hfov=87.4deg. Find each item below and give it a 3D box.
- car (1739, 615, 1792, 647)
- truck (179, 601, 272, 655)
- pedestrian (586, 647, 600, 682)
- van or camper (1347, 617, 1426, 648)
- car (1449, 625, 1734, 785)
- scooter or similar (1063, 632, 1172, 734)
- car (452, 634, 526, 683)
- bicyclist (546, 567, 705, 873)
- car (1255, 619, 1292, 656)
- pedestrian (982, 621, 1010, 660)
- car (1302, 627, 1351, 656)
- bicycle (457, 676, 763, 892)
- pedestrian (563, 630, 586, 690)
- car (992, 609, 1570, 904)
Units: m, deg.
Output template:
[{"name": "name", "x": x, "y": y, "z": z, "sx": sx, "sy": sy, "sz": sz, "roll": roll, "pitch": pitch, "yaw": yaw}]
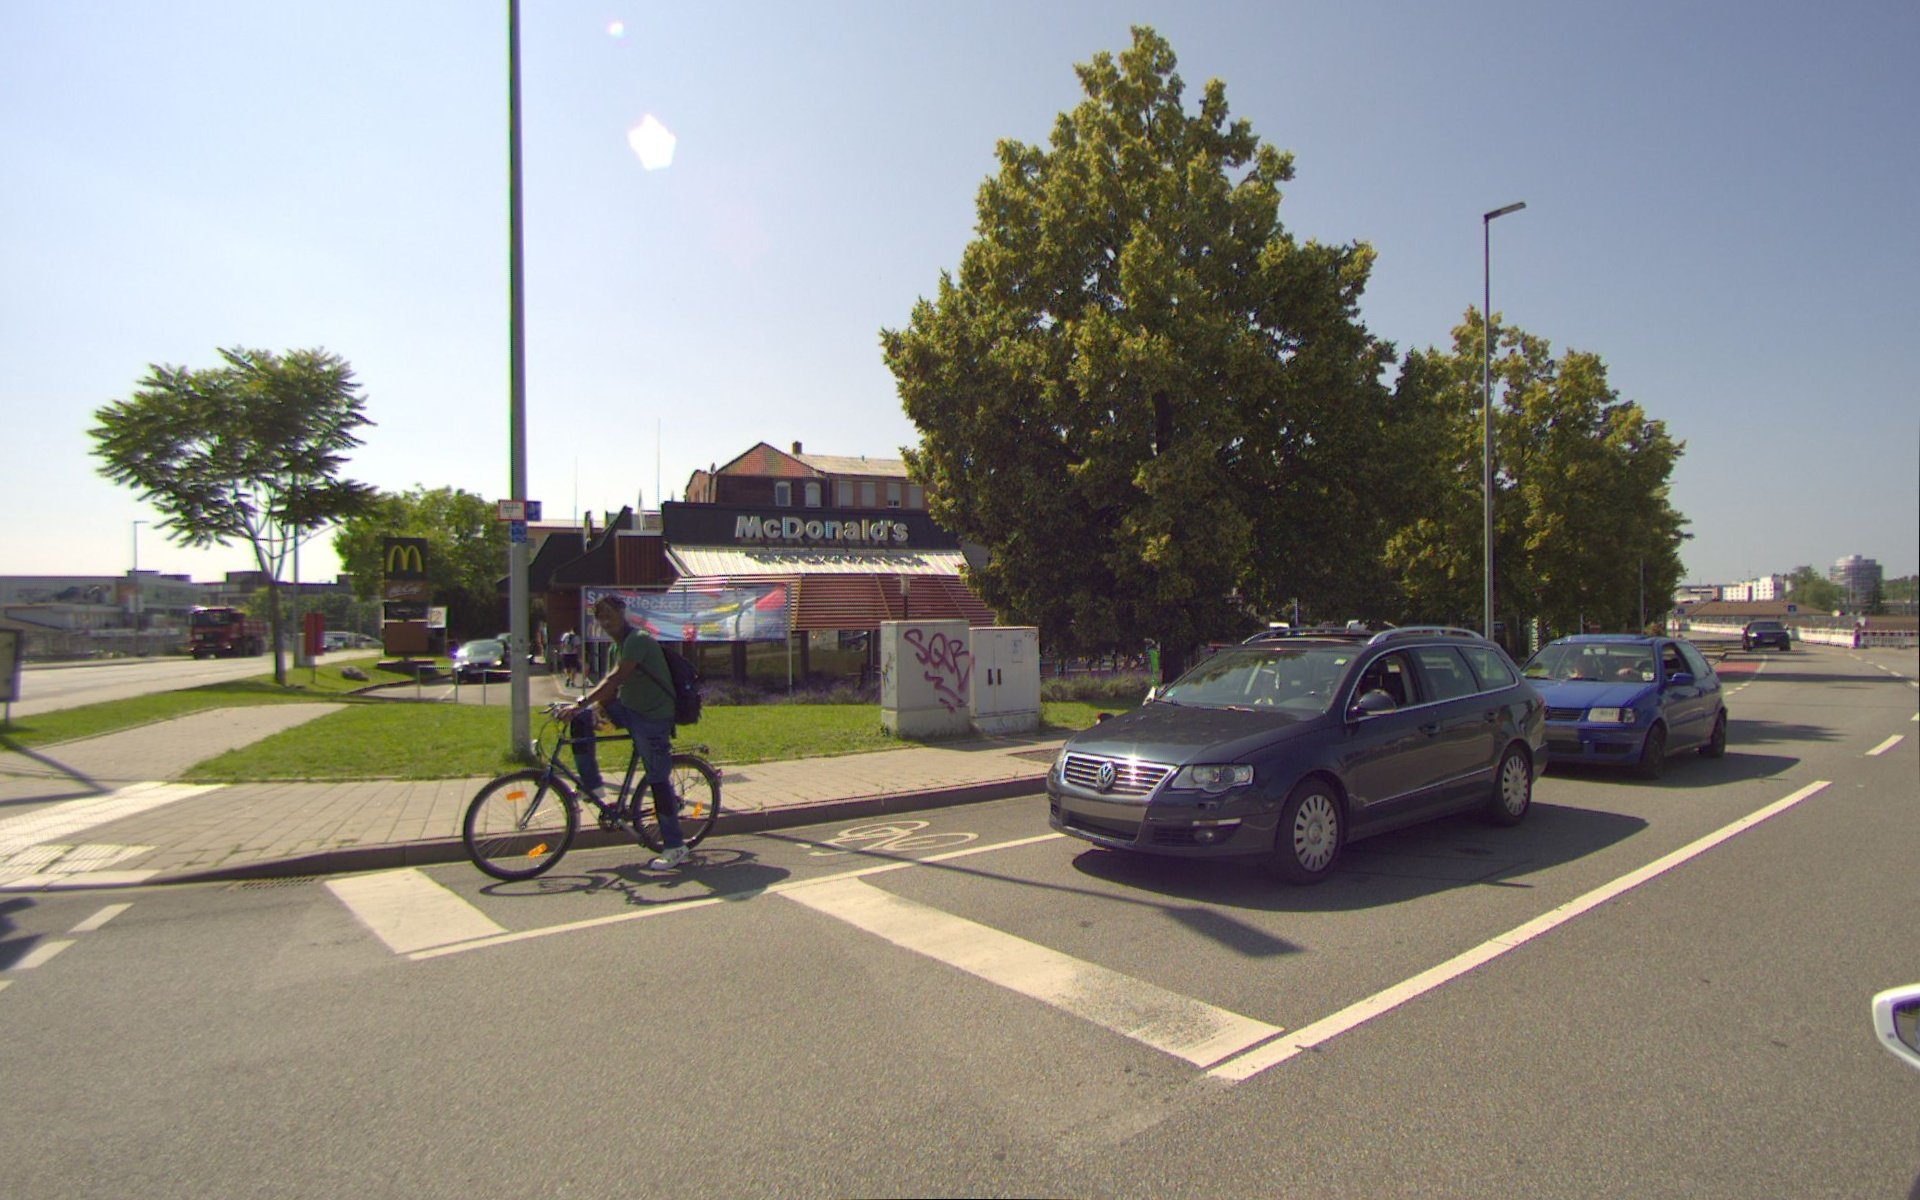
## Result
[{"name": "car", "x": 44.982, "y": 1.702, "z": 56.202, "sx": 1.924, "sy": 1.717, "sz": 4.599, "roll": -1, "pitch": -1, "yaw": 34}, {"name": "truck", "x": -50.397, "y": 1.890, "z": 69.232, "sx": 3.268, "sy": 3.431, "sz": 9.114, "roll": -1, "pitch": -1, "yaw": -24}, {"name": "pedestrian", "x": -11.134, "y": 1.949, "z": 30.448, "sx": 0.376, "sy": 1.010, "sz": 0.508, "roll": 0, "pitch": -1, "yaw": -22}, {"name": "van or camper", "x": 25.179, "y": 1.937, "z": 59.474, "sx": 4.202, "sy": 1.763, "sz": 1.999, "roll": -1, "pitch": -1, "yaw": 22}, {"name": "car", "x": 7.045, "y": 1.000, "z": 11.046, "sx": 3.970, "sy": 1.399, "sz": 1.641, "roll": 0, "pitch": -1, "yaw": -42}, {"name": "scooter or similar", "x": 1.984, "y": 1.016, "z": 12.608, "sx": 1.349, "sy": 1.200, "sz": 0.469, "roll": 0, "pitch": -1, "yaw": -31}, {"name": "car", "x": -16.563, "y": 2.011, "z": 35.500, "sx": 1.836, "sy": 1.572, "sz": 4.172, "roll": 0, "pitch": -1, "yaw": -18}, {"name": "bicyclist", "x": -2.170, "y": 0.726, "z": 6.491, "sx": 0.801, "sy": 1.812, "sz": 0.706, "roll": 0, "pitch": -2, "yaw": -35}, {"name": "car", "x": 15.922, "y": 1.876, "z": 51.092, "sx": 1.684, "sy": 1.758, "sz": 4.250, "roll": -1, "pitch": -1, "yaw": 17}, {"name": "pedestrian", "x": 1.412, "y": 1.587, "z": 39.515, "sx": 0.824, "sy": 1.494, "sz": 0.748, "roll": -2, "pitch": -1, "yaw": 44}, {"name": "car", "x": 17.589, "y": 1.987, "z": 48.376, "sx": 1.576, "sy": 1.303, "sz": 4.003, "roll": -1, "pitch": -1, "yaw": 11}, {"name": "bicycle", "x": -2.213, "y": 1.095, "z": 6.444, "sx": 1.738, "sy": 1.119, "sz": 0.692, "roll": 0, "pitch": -2, "yaw": -36}, {"name": "pedestrian", "x": -11.653, "y": 1.790, "z": 30.350, "sx": 0.628, "sy": 1.781, "sz": 0.888, "roll": 0, "pitch": -1, "yaw": -20}, {"name": "car", "x": 2.578, "y": 0.844, "z": 7.382, "sx": 4.681, "sy": 1.516, "sz": 1.766, "roll": 0, "pitch": -1, "yaw": -39}]
